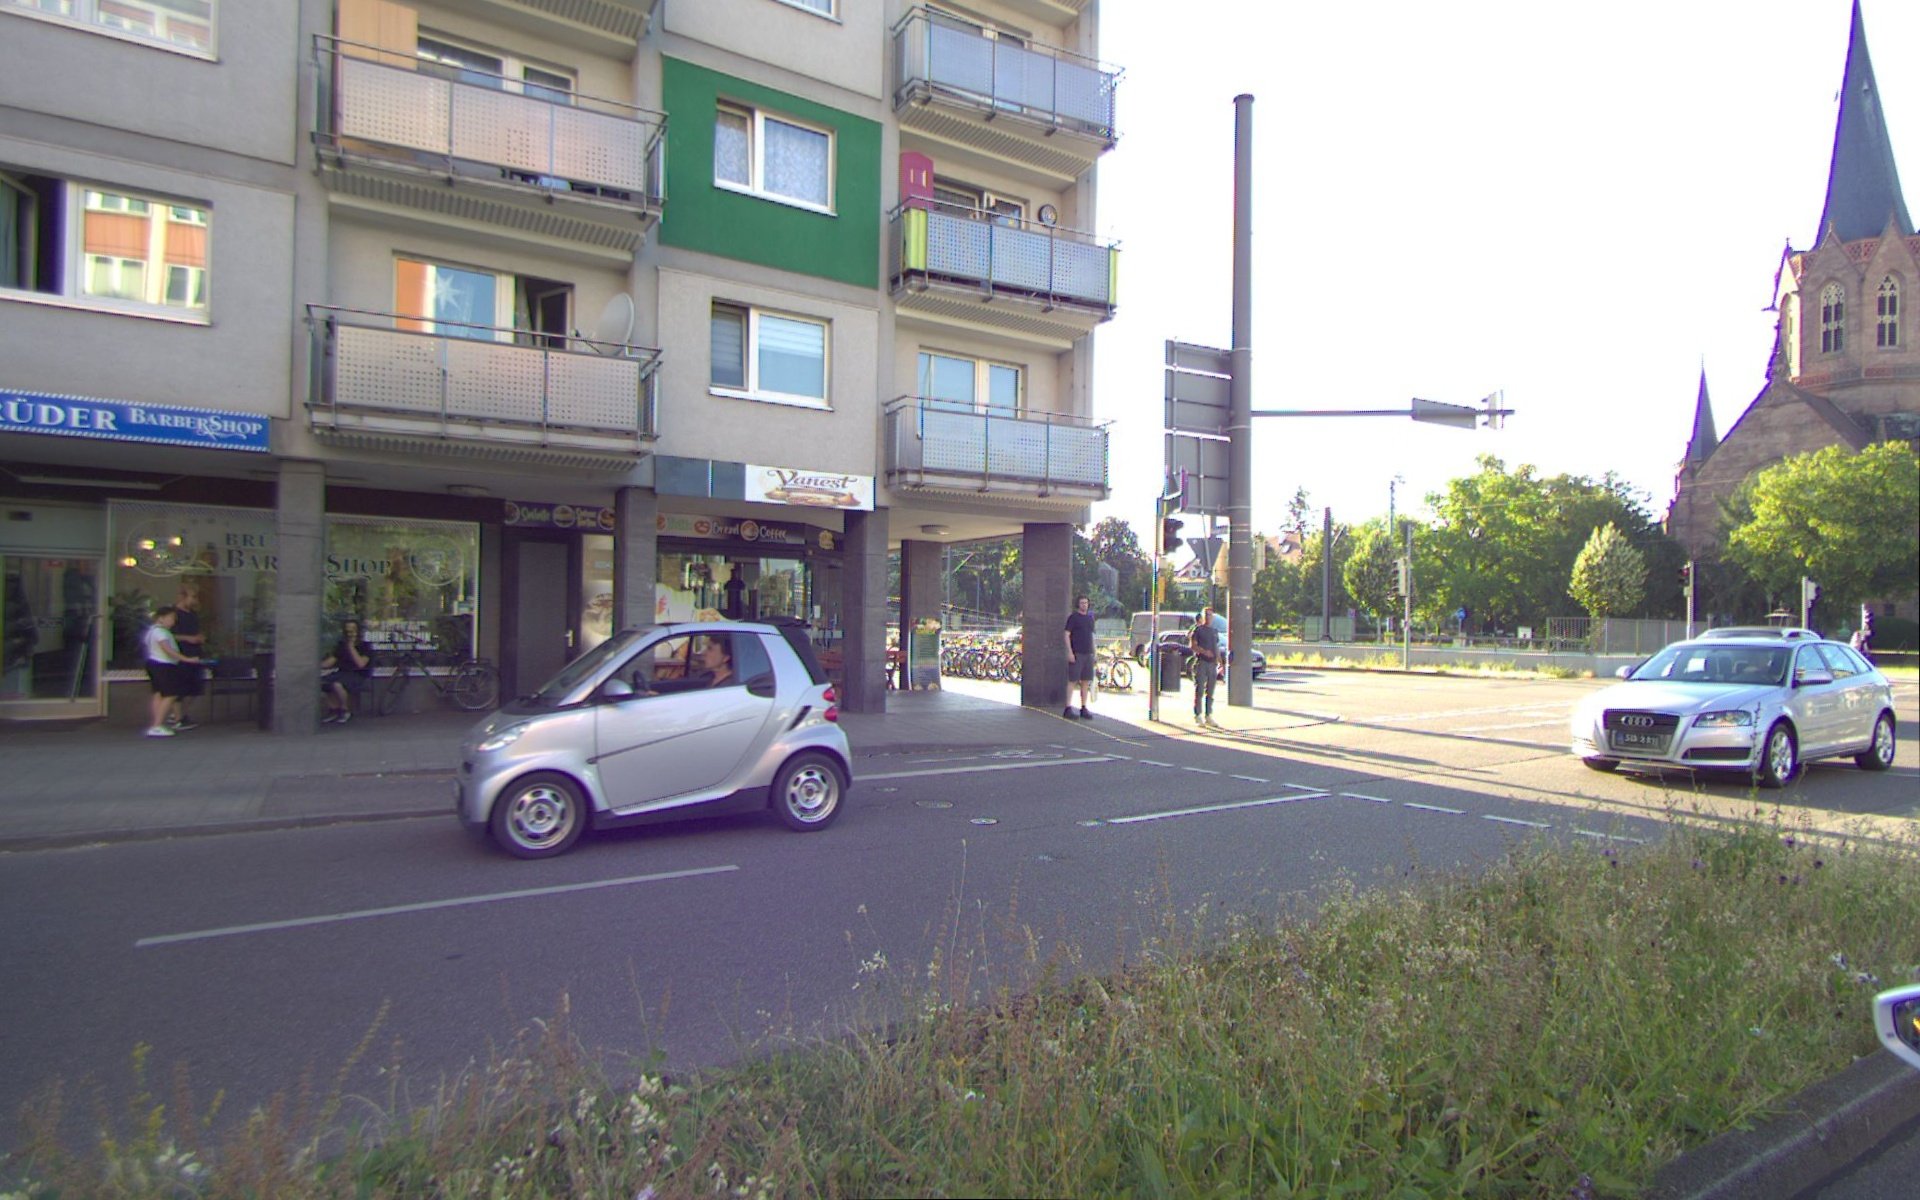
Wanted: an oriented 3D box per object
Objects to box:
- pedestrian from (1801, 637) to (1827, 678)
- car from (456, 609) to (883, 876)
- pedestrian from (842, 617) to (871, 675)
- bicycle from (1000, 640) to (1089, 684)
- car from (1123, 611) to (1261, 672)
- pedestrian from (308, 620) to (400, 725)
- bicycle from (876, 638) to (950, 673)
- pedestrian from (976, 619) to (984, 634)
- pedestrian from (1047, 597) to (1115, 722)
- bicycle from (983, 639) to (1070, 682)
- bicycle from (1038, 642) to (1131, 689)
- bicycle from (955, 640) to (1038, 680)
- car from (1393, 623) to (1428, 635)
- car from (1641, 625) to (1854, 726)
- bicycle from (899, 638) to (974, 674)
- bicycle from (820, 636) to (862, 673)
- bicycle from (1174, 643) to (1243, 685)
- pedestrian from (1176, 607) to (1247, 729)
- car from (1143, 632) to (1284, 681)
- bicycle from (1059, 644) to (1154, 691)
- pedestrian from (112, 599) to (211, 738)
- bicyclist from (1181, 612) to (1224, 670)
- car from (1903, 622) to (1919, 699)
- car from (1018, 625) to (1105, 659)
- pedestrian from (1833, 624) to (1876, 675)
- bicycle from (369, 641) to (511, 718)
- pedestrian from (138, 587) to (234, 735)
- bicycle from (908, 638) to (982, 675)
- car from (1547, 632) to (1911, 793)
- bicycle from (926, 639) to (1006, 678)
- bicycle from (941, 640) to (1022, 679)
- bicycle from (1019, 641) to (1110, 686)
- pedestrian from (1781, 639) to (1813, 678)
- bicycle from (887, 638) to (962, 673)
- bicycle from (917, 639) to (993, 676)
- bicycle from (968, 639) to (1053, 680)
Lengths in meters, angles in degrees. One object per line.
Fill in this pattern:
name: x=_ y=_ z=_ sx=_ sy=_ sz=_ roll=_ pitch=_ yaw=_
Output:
pedestrian: x=36.866 y=2.482 z=43.364 sx=0.698 sy=1.719 sz=0.893 roll=2 pitch=0 yaw=33
car: x=-2.148 y=0.913 z=7.481 sx=2.776 sy=1.614 sz=1.528 roll=1 pitch=-2 yaw=-31
pedestrian: x=-3.217 y=1.421 z=31.129 sx=0.677 sy=1.745 sz=0.605 roll=1 pitch=-1 yaw=-31
bicycle: x=2.186 y=1.582 z=25.726 sx=2.273 sy=1.065 sz=0.731 roll=2 pitch=-2 yaw=-31
car: x=8.290 y=1.462 z=36.336 sx=1.978 sy=2.040 sz=4.896 roll=2 pitch=-2 yaw=-32
pedestrian: x=-7.942 y=0.929 z=13.184 sx=0.613 sy=1.331 sz=0.811 roll=0 pitch=-1 yaw=16
bicycle: x=-1.501 y=1.770 z=32.256 sx=2.273 sy=1.065 sz=0.731 roll=2 pitch=-2 yaw=-31
pedestrian: x=2.338 y=3.119 z=118.541 sx=0.677 sy=1.847 sz=0.531 roll=2 pitch=-1 yaw=-27
pedestrian: x=1.911 y=0.928 z=15.857 sx=0.802 sy=1.900 sz=0.605 roll=1 pitch=2 yaw=-30
bicycle: x=1.772 y=1.591 z=26.537 sx=2.273 sy=1.065 sz=0.731 roll=2 pitch=-2 yaw=-31
bicycle: x=3.045 y=1.580 z=24.377 sx=2.273 sy=1.065 sz=0.731 roll=2 pitch=-2 yaw=-31
bicycle: x=1.023 y=1.658 z=27.906 sx=2.273 sy=1.065 sz=0.731 roll=2 pitch=-2 yaw=-31
car: x=67.696 y=4.367 z=150.949 sx=1.985 sy=1.592 sz=4.411 roll=2 pitch=-2 yaw=-41
car: x=13.512 y=1.227 z=17.213 sx=3.595 sy=1.565 sz=1.667 roll=1 pitch=-2 yaw=-31
bicycle: x=-0.712 y=1.708 z=30.882 sx=2.273 sy=1.065 sz=0.642 roll=2 pitch=-2 yaw=-31
bicycle: x=-3.651 y=1.642 z=30.683 sx=0.514 sy=1.106 sz=2.050 roll=1 pitch=-2 yaw=-30
bicycle: x=7.016 y=1.786 z=28.400 sx=0.940 sy=1.112 sz=1.769 roll=1 pitch=-2 yaw=-30
pedestrian: x=3.896 y=1.037 z=15.589 sx=0.802 sy=1.811 sz=0.606 roll=1 pitch=2 yaw=-27
car: x=7.731 y=1.702 z=31.022 sx=1.781 sy=1.330 sz=4.165 roll=2 pitch=-2 yaw=-32
bicycle: x=3.468 y=1.574 z=23.693 sx=2.273 sy=1.065 sz=0.731 roll=2 pitch=-1 yaw=-31
pedestrian: x=-8.836 y=0.744 z=11.137 sx=0.615 sy=1.486 sz=0.657 roll=1 pitch=-1 yaw=-16
bicyclist: x=6.902 y=1.170 z=28.606 sx=0.952 sy=1.619 sz=0.732 roll=1 pitch=-2 yaw=-30
car: x=24.025 y=1.375 z=23.338 sx=4.730 sy=1.733 sz=1.807 roll=1 pitch=-2 yaw=-31
car: x=4.371 y=1.806 z=43.600 sx=1.781 sy=1.392 sz=3.880 roll=2 pitch=-2 yaw=-32
pedestrian: x=32.201 y=1.775 z=36.152 sx=0.803 sy=1.762 sz=0.960 roll=2 pitch=-1 yaw=-31
bicycle: x=-7.349 y=1.106 z=14.238 sx=1.684 sy=1.012 sz=0.619 roll=2 pitch=-2 yaw=-40
pedestrian: x=-9.201 y=0.703 z=11.952 sx=0.613 sy=1.694 sz=0.658 roll=0 pitch=-1 yaw=24
bicycle: x=-0.435 y=1.708 z=30.373 sx=2.273 sy=1.065 sz=0.558 roll=2 pitch=-2 yaw=-31
car: x=8.313 y=1.073 z=10.793 sx=4.054 sy=1.444 sz=1.700 roll=1 pitch=-2 yaw=-31
bicycle: x=0.185 y=1.698 z=29.279 sx=2.273 sy=1.065 sz=0.731 roll=2 pitch=-2 yaw=-31
bicycle: x=0.622 y=1.684 z=28.598 sx=2.273 sy=1.065 sz=0.731 roll=2 pitch=-2 yaw=-31
bicycle: x=2.609 y=1.566 z=25.059 sx=2.273 sy=1.065 sz=0.731 roll=2 pitch=-2 yaw=-31
pedestrian: x=38.314 y=2.673 z=45.994 sx=0.828 sy=1.719 sz=1.016 roll=2 pitch=0 yaw=22
bicycle: x=-1.097 y=1.742 z=31.568 sx=2.273 sy=1.065 sz=0.731 roll=2 pitch=-2 yaw=-31
bicycle: x=-0.140 y=1.695 z=29.864 sx=2.273 sy=1.065 sz=0.558 roll=2 pitch=-2 yaw=-31
bicycle: x=1.387 y=1.601 z=27.227 sx=2.273 sy=1.065 sz=0.731 roll=2 pitch=-2 yaw=-31
